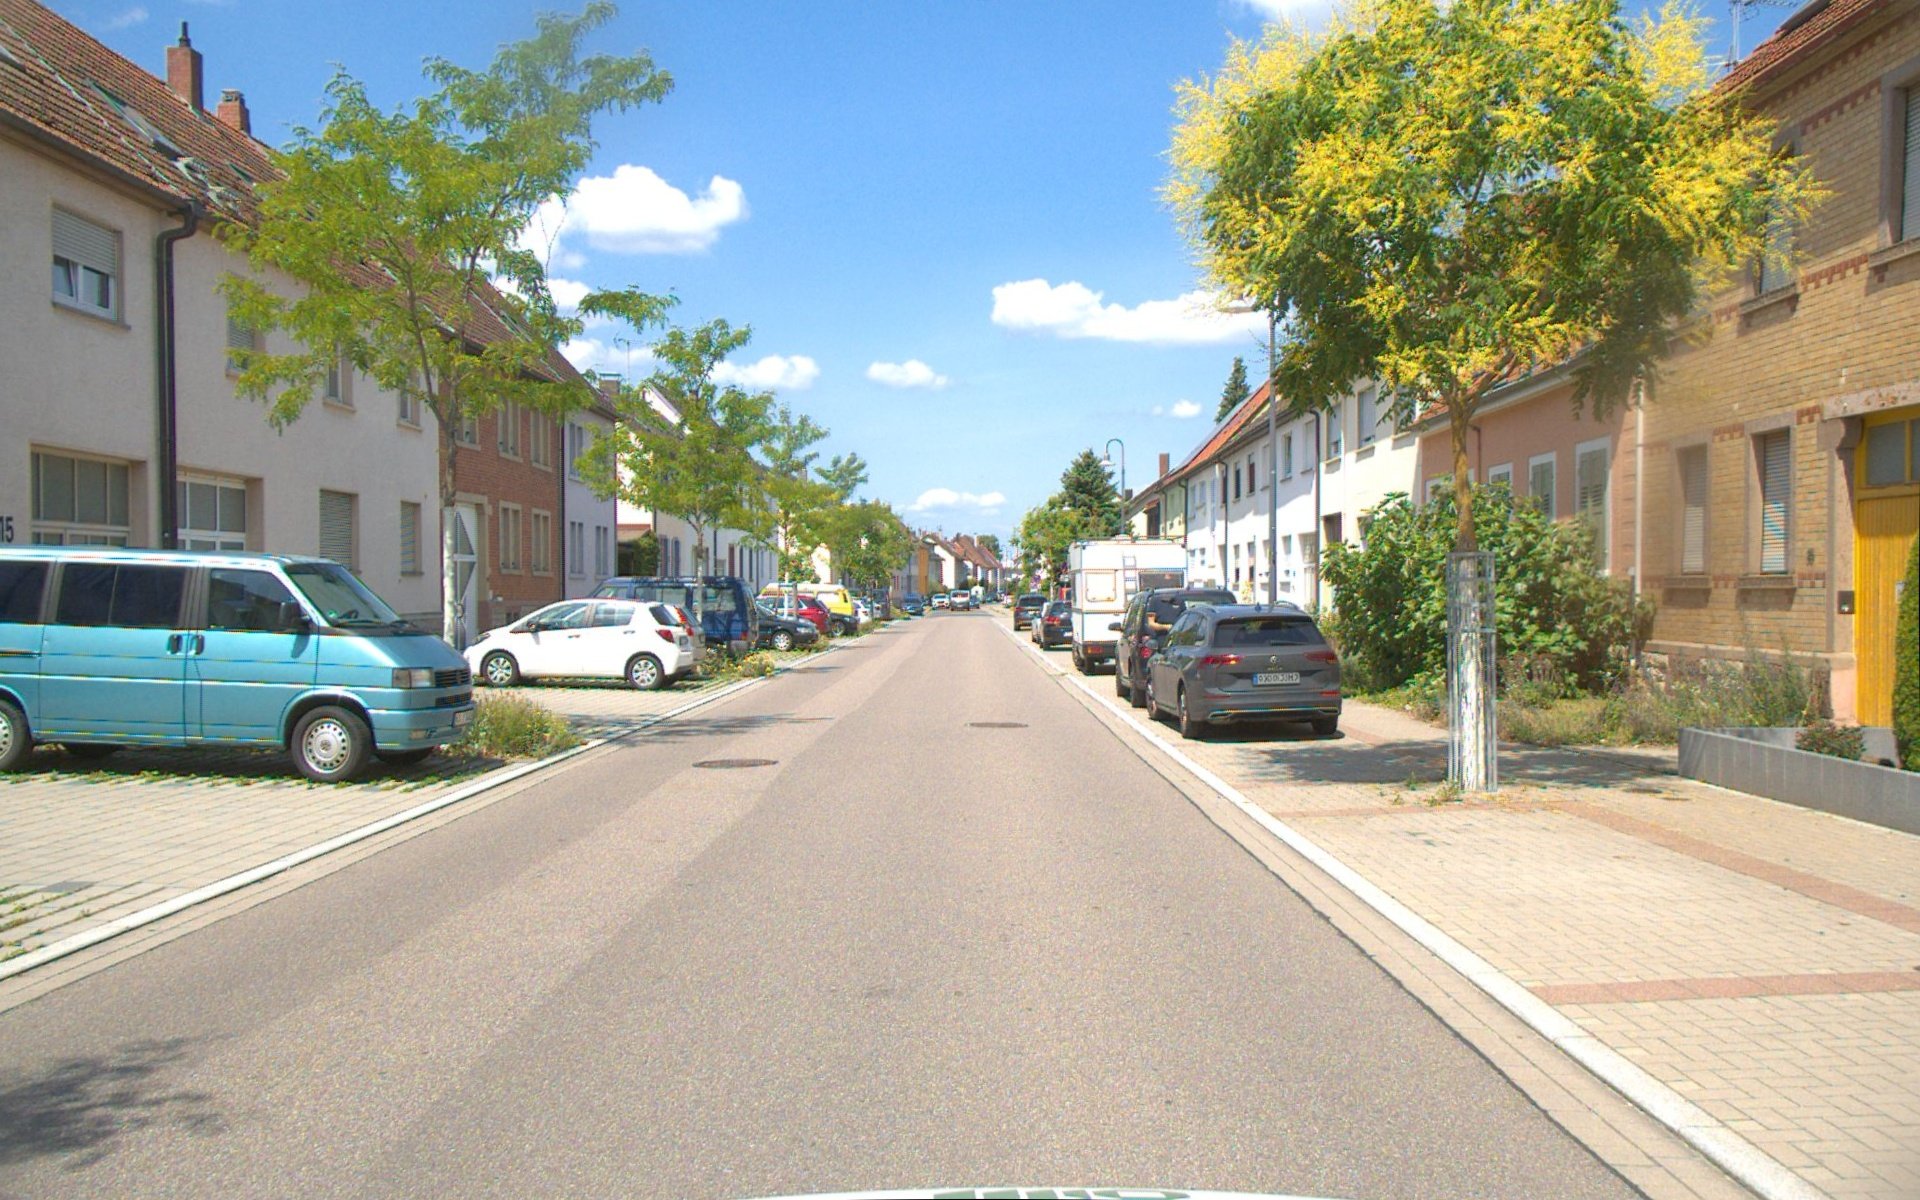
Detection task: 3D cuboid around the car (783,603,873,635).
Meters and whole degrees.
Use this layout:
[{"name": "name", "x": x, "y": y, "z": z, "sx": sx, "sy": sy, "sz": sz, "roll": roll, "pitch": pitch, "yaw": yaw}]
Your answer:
[{"name": "car", "x": -6.476, "y": 0.946, "z": 81.647, "sx": 4.206, "sy": 1.493, "sz": 1.774, "roll": 1, "pitch": -1, "yaw": 2}]

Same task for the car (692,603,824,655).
[{"name": "car", "x": -6.311, "y": 0.899, "z": 51.984, "sx": 3.972, "sy": 1.504, "sz": 1.775, "roll": 1, "pitch": 0, "yaw": -3}]

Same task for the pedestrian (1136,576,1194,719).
[{"name": "pedestrian", "x": 2.754, "y": 0.633, "z": 22.292, "sx": 0.701, "sy": 1.885, "sz": 0.578, "roll": 0, "pitch": -1, "yaw": 0}]

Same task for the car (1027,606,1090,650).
[{"name": "car", "x": 3.387, "y": 0.950, "z": 57.670, "sx": 1.795, "sy": 1.491, "sz": 4.518, "roll": 0, "pitch": 0, "yaw": -2}]

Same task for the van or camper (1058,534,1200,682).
[{"name": "van or camper", "x": 3.507, "y": 0.154, "z": 35.494, "sx": 2.422, "sy": 2.859, "sz": 5.790, "roll": -1, "pitch": 0, "yaw": 0}]

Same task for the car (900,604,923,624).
[{"name": "car", "x": -4.043, "y": 1.135, "z": 136.175, "sx": 1.780, "sy": 1.458, "sz": 4.138, "roll": 4, "pitch": 1, "yaw": -2}]

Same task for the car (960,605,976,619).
[{"name": "car", "x": 0.889, "y": 1.340, "z": 187.457, "sx": 1.727, "sy": 1.549, "sz": 4.048, "roll": -1, "pitch": 0, "yaw": -1}]

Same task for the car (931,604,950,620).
[{"name": "car", "x": -2.212, "y": 1.305, "z": 185.249, "sx": 1.811, "sy": 1.688, "sz": 4.001, "roll": 2, "pitch": 0, "yaw": 3}]

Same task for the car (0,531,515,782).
[{"name": "car", "x": -6.513, "y": 0.465, "z": 14.535, "sx": 4.580, "sy": 1.940, "sz": 2.000, "roll": 2, "pitch": -1, "yaw": 1}]

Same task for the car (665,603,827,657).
[{"name": "car", "x": -6.181, "y": 0.853, "z": 48.013, "sx": 4.431, "sy": 1.450, "sz": 1.795, "roll": 1, "pitch": 0, "yaw": 0}]

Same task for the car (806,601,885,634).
[{"name": "car", "x": -6.105, "y": 0.943, "z": 88.526, "sx": 4.100, "sy": 1.596, "sz": 1.772, "roll": 2, "pitch": -1, "yaw": -4}]

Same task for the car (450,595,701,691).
[{"name": "car", "x": -6.566, "y": 0.715, "z": 28.505, "sx": 3.835, "sy": 1.514, "sz": 1.773, "roll": 1, "pitch": 0, "yaw": 2}]

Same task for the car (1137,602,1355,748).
[{"name": "car", "x": 3.226, "y": 0.798, "z": 19.473, "sx": 1.731, "sy": 1.514, "sz": 4.295, "roll": 0, "pitch": 0, "yaw": -1}]

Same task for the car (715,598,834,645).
[{"name": "car", "x": -6.828, "y": 0.795, "z": 61.191, "sx": 4.166, "sy": 1.639, "sz": 1.842, "roll": 1, "pitch": 0, "yaw": -1}]

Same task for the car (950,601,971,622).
[{"name": "car", "x": 0.029, "y": 1.164, "z": 161.410, "sx": 1.981, "sy": 1.984, "sz": 4.897, "roll": 0, "pitch": -1, "yaw": -1}]

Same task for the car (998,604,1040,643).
[{"name": "car", "x": 2.790, "y": 1.060, "z": 77.582, "sx": 1.825, "sy": 1.664, "sz": 4.448, "roll": -2, "pitch": 0, "yaw": 2}]

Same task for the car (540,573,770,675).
[{"name": "car", "x": -6.506, "y": 0.512, "z": 35.637, "sx": 4.517, "sy": 2.031, "sz": 1.953, "roll": 1, "pitch": 0, "yaw": 2}]

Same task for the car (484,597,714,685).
[{"name": "car", "x": -6.697, "y": 0.747, "z": 30.953, "sx": 3.835, "sy": 1.514, "sz": 1.773, "roll": 1, "pitch": 0, "yaw": 2}]

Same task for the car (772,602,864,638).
[{"name": "car", "x": -6.350, "y": 0.872, "z": 73.632, "sx": 3.995, "sy": 1.493, "sz": 1.750, "roll": 1, "pitch": 0, "yaw": -8}]

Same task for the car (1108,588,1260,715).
[{"name": "car", "x": 3.276, "y": 0.714, "z": 24.880, "sx": 1.730, "sy": 1.735, "sz": 4.325, "roll": 0, "pitch": 0, "yaw": 1}]

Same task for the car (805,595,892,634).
[{"name": "car", "x": -6.124, "y": 0.802, "z": 91.476, "sx": 4.604, "sy": 1.957, "sz": 1.937, "roll": 2, "pitch": -1, "yaw": 0}]

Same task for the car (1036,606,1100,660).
[{"name": "car", "x": 3.237, "y": 0.976, "z": 50.276, "sx": 1.730, "sy": 1.556, "sz": 4.007, "roll": 0, "pitch": 0, "yaw": 1}]

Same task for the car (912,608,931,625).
[{"name": "car", "x": -3.994, "y": 1.717, "z": 171.704, "sx": 1.773, "sy": 1.637, "sz": 4.000, "roll": 2, "pitch": 0, "yaw": 1}]

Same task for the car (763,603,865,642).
[{"name": "car", "x": -5.855, "y": 0.895, "z": 66.615, "sx": 3.927, "sy": 1.485, "sz": 1.755, "roll": 1, "pitch": 0, "yaw": 0}]

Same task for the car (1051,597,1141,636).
[{"name": "car", "x": 7.174, "y": 0.882, "z": 87.476, "sx": 4.525, "sy": 1.927, "sz": 2.020, "roll": 1, "pitch": -1, "yaw": -1}]

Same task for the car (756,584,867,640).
[{"name": "car", "x": -6.180, "y": 0.507, "z": 69.121, "sx": 4.416, "sy": 2.215, "sz": 1.925, "roll": 1, "pitch": 0, "yaw": 0}]
